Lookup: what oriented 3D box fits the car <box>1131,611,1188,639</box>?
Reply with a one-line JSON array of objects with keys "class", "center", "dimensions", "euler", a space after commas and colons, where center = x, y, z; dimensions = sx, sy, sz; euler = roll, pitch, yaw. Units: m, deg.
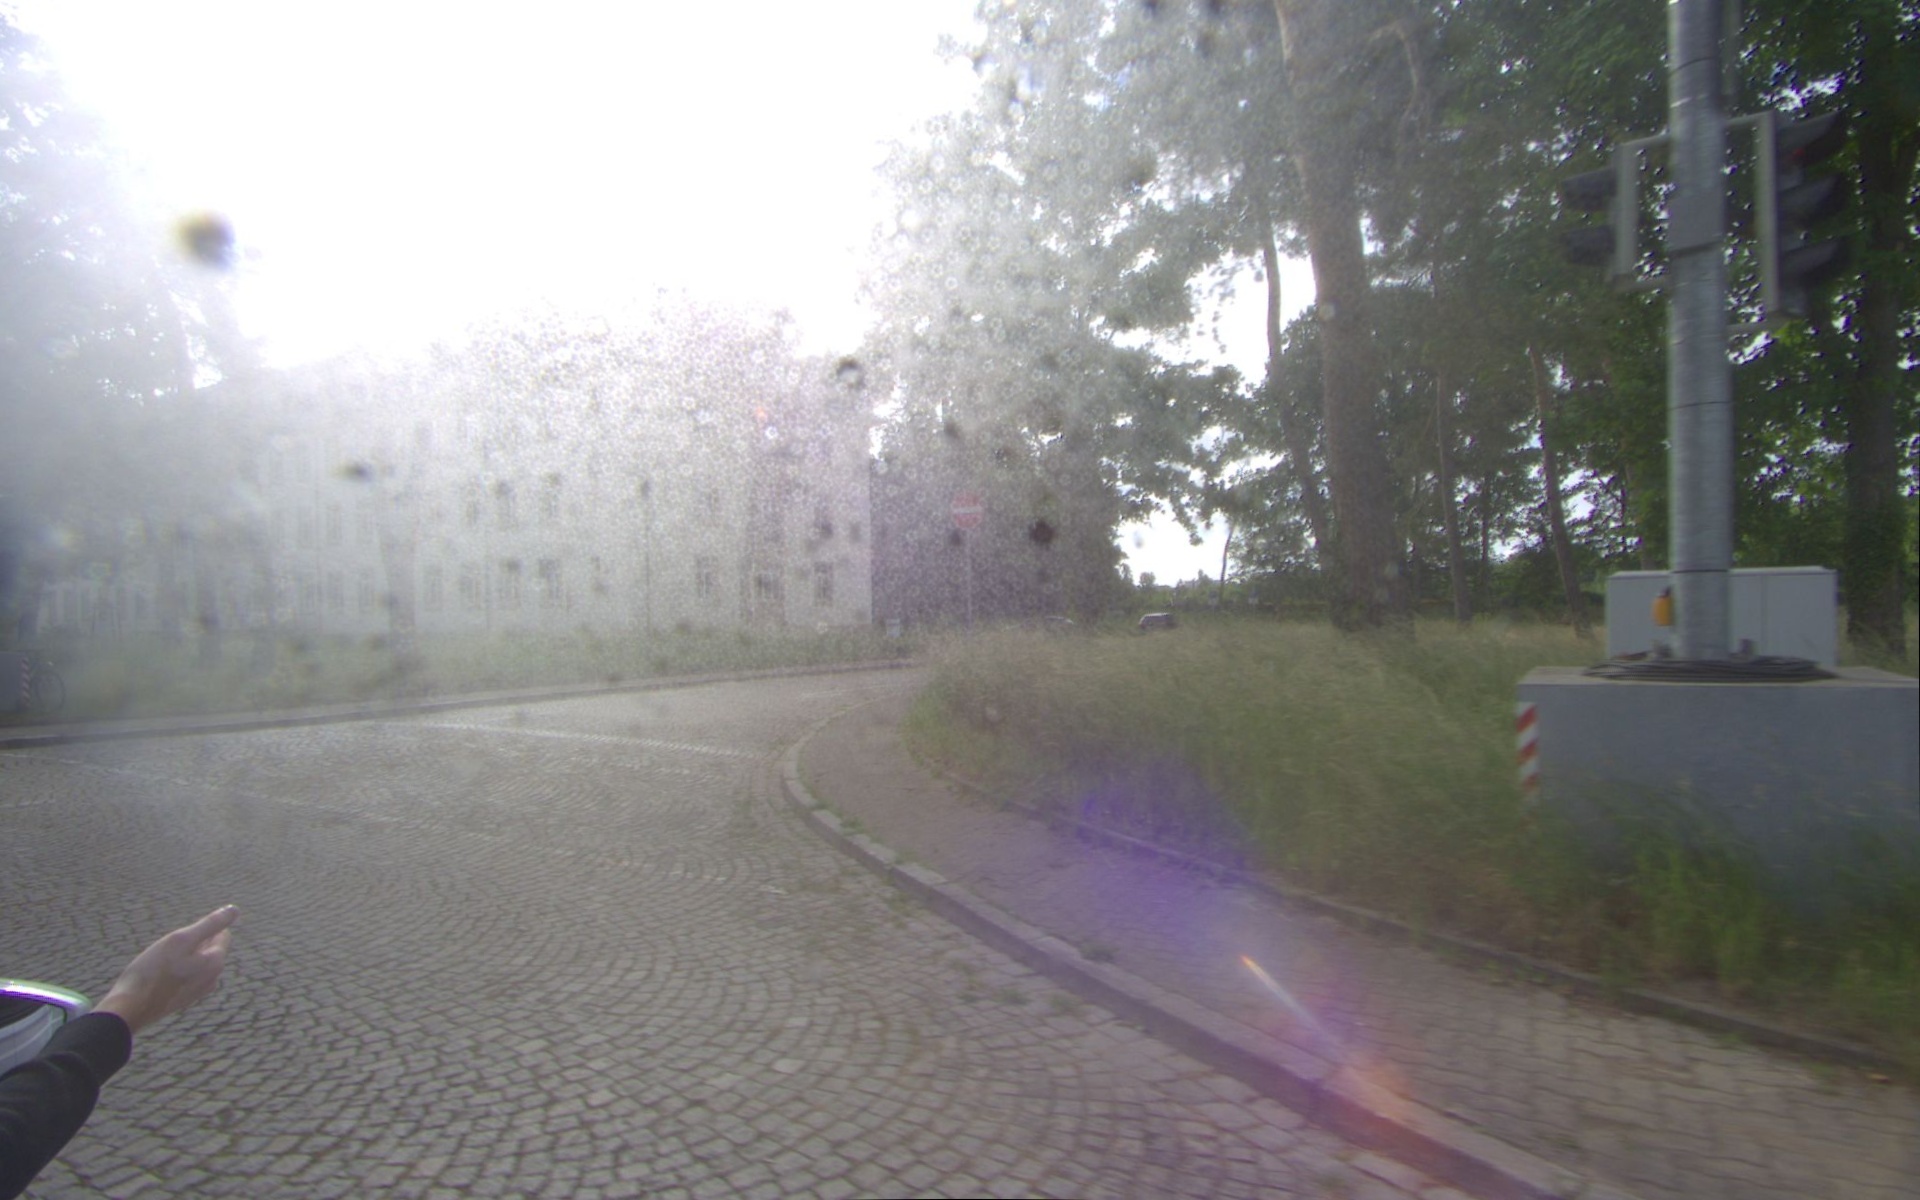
[{"class": "car", "center": [11.540, 1.430, 57.837], "dimensions": [1.971, 1.553, 3.979], "euler": [-1, -1, 32]}]

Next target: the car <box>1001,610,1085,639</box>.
[{"class": "car", "center": [4.748, 1.397, 57.456], "dimensions": [4.384, 1.607, 1.991], "euler": [-1, -1, 30]}]

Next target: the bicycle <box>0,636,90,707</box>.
[{"class": "bicycle", "center": [-15.201, 1.157, 16.495], "dimensions": [1.805, 1.077, 0.643], "euler": [-1, 3, 28]}]

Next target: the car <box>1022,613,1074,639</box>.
[{"class": "car", "center": [5.486, 1.607, 62.383], "dimensions": [1.748, 1.553, 3.675], "euler": [-1, -1, 32]}]
